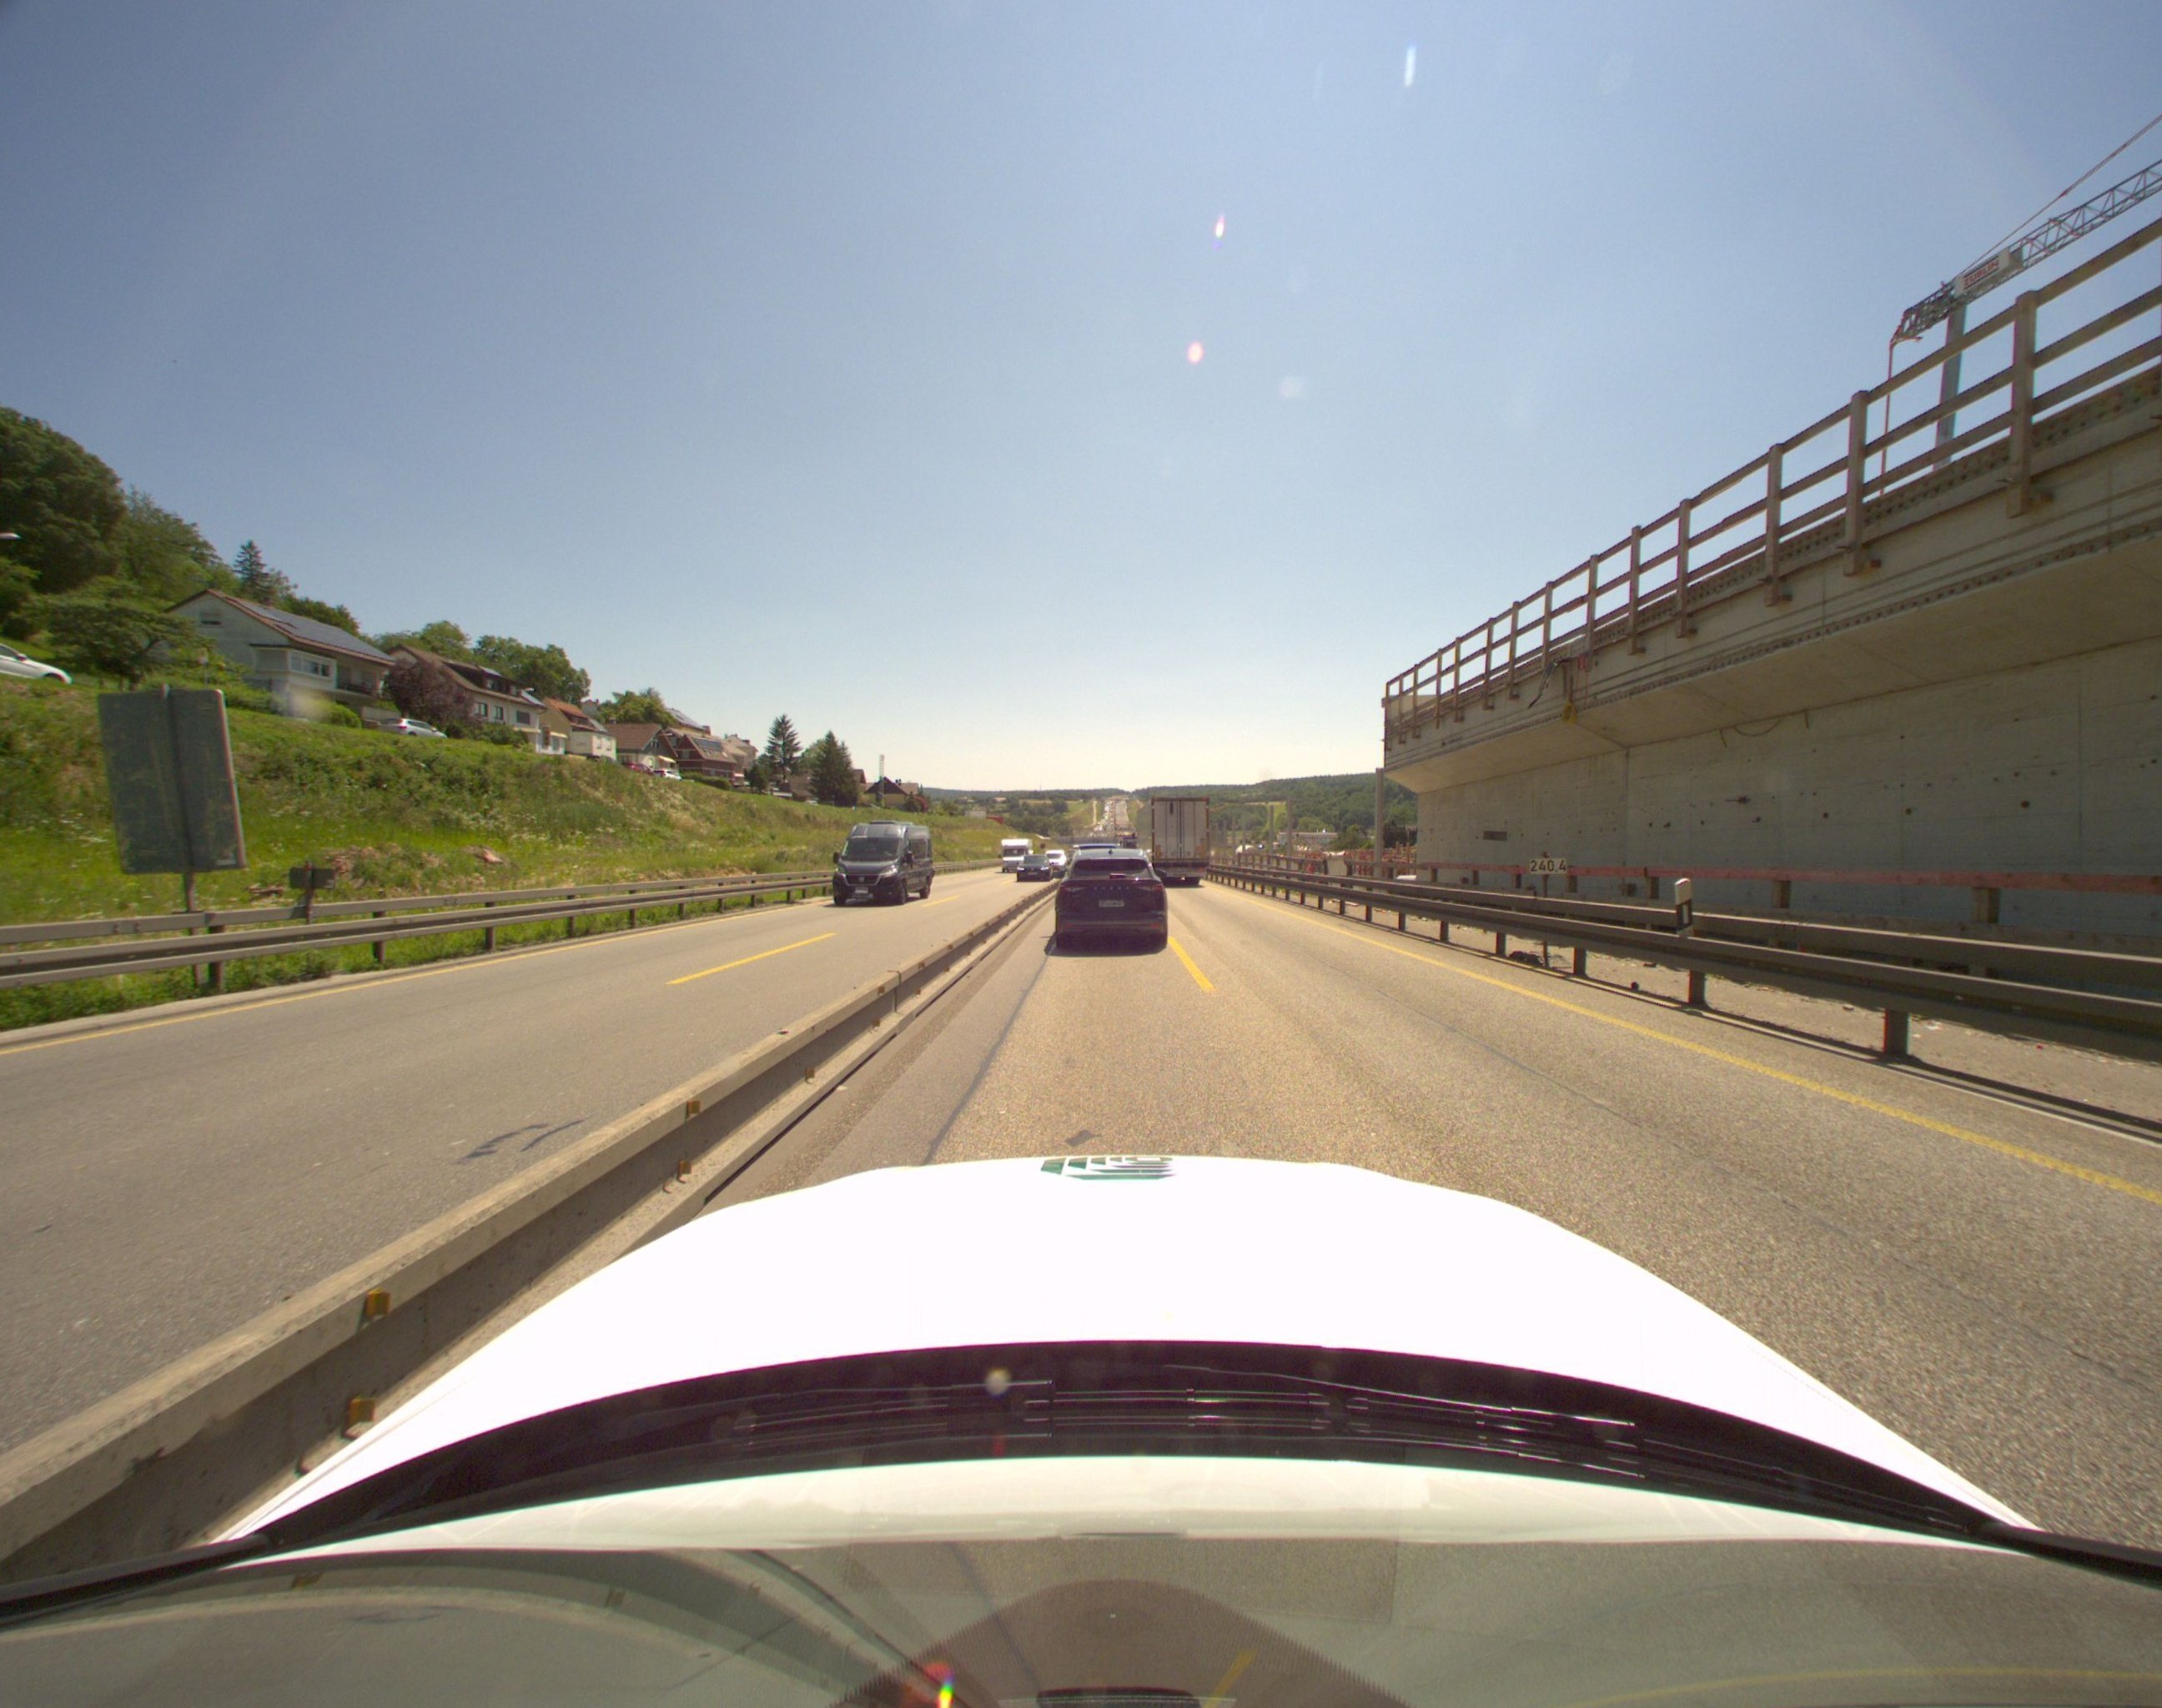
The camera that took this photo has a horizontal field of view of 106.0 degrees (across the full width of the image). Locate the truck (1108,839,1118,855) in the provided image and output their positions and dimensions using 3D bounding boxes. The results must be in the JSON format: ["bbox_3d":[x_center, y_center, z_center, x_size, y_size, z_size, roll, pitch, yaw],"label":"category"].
[{"bbox_3d":[8.866,-1.971,224.547,2.630,4.194,9.286,-1,-1,2],"label":"truck"}]

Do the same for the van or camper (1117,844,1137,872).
[{"bbox_3d":[5.697,0.531,100.753,2.378,3.281,6.474,-1,-1,4],"label":"van or camper"}]

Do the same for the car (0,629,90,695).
[{"bbox_3d":[-40.274,-7.273,29.850,1.990,1.794,5.002,-1,-1,-5],"label":"car"}]

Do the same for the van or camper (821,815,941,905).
[{"bbox_3d":[-6.271,0.171,26.540,2.132,2.573,6.566,0,0,1],"label":"van or camper"}]

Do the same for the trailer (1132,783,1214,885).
[{"bbox_3d":[4.505,-0.951,42.806,3.169,4.513,13.113,-1,0,2],"label":"trailer"}]

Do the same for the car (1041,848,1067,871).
[{"bbox_3d":[-2.161,0.436,66.088,1.831,1.828,5.041,-1,0,1],"label":"car"}]

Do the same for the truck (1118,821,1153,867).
[{"bbox_3d":[5.482,-0.911,83.452,3.169,4.513,8.167,-1,-1,1],"label":"truck"}]

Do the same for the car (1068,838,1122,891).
[{"bbox_3d":[0.563,0.420,32.400,1.986,1.926,4.508,-1,-1,1],"label":"car"}]

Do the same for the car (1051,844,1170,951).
[{"bbox_3d":[0.525,0.677,14.335,1.795,1.607,4.002,-1,-1,2],"label":"car"}]

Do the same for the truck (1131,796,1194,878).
[{"bbox_3d":[4.760,-0.959,49.349,3.169,4.513,8.168,-1,0,1],"label":"truck"}]

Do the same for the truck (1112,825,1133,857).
[{"bbox_3d":[6.413,-1.951,126.248,2.842,4.465,11.918,-1,-1,1],"label":"truck"}]

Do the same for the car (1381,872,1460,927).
[{"bbox_3d":[19.123,2.478,46.275,2.134,2.856,7.032,-1,-1,5],"label":"car"}]

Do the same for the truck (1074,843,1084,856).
[{"bbox_3d":[-0.503,-1.369,231.601,2.769,3.672,6.278,-1,0,1],"label":"truck"}]

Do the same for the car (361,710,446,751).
[{"bbox_3d":[-40.700,-7.383,49.065,1.990,1.794,3.992,-1,-1,-5],"label":"car"}]

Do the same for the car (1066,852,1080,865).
[{"bbox_3d":[-0.876,0.516,92.189,1.478,1.505,2.806,-1,0,1],"label":"car"}]

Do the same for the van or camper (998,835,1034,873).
[{"bbox_3d":[-5.472,-0.018,69.083,2.283,3.066,6.926,-1,0,1],"label":"van or camper"}]

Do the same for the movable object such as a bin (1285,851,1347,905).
[{"bbox_3d":[22.209,2.238,77.555,3.215,4.743,9.657,-1,-1,1],"label":"movable object such as a bin"}]

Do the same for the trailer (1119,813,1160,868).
[{"bbox_3d":[5.299,-1.018,76.266,3.168,4.513,14.970,-1,-1,2],"label":"trailer"}]

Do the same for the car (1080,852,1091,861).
[{"bbox_3d":[0.822,0.405,146.927,1.800,1.640,4.172,-1,0,1],"label":"car"}]

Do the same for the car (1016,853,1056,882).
[{"bbox_3d":[-2.481,0.718,45.544,1.836,1.475,4.836,-1,0,1],"label":"car"}]

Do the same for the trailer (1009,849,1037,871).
[{"bbox_3d":[-5.310,0.552,74.977,2.094,1.894,5.143,-1,0,1],"label":"trailer"}]

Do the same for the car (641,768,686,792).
[{"bbox_3d":[-43.849,-7.767,85.715,2.341,2.041,4.815,-1,-1,-1],"label":"car"}]

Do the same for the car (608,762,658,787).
[{"bbox_3d":[-43.588,-7.723,79.423,2.341,1.794,4.798,-1,-1,-2],"label":"car"}]
